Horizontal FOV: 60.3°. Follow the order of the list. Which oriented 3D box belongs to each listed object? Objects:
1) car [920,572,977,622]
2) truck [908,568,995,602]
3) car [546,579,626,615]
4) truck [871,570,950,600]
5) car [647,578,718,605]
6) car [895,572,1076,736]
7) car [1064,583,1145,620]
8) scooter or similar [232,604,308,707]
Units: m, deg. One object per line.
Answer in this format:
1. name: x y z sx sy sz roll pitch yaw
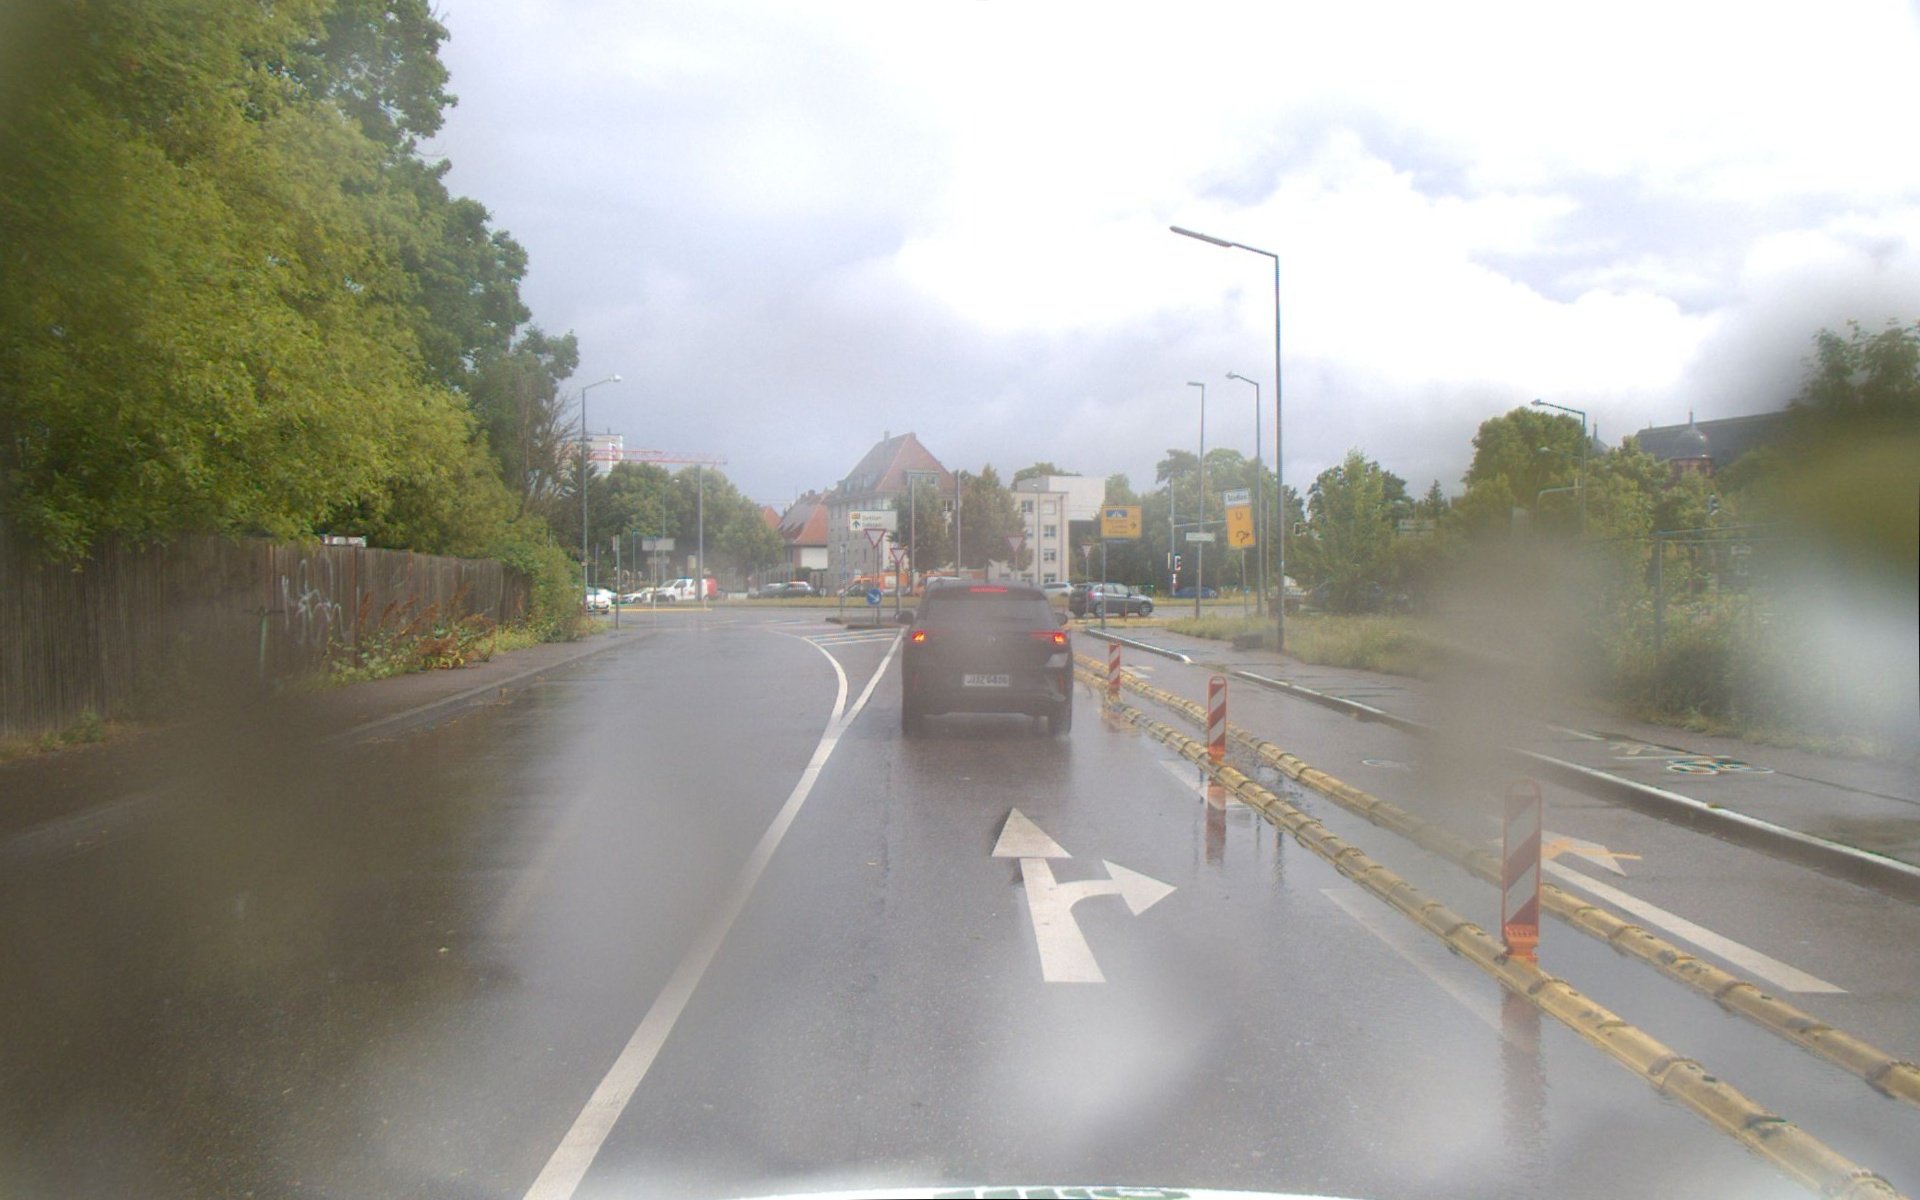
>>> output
1. car: -0.405 -0.136 62.662 1.825 1.841 4.406 0 0 4
2. truck: -0.641 -1.192 132.251 6.921 2.696 2.330 0 0 0
3. car: -19.661 -0.157 86.860 3.917 1.862 1.994 0 0 34
4. truck: -4.198 -1.289 140.427 6.573 2.485 2.431 0 0 -7
5. car: -20.501 -0.620 122.258 5.094 1.909 1.863 -1 1 -45
6. car: 0.182 0.532 18.116 1.675 1.601 3.680 1 0 -4
7. car: 6.727 0.039 76.895 3.925 1.673 1.643 0 1 -45
8. scooter or similar: -8.225 0.645 19.754 0.551 1.183 1.206 0 0 -8
